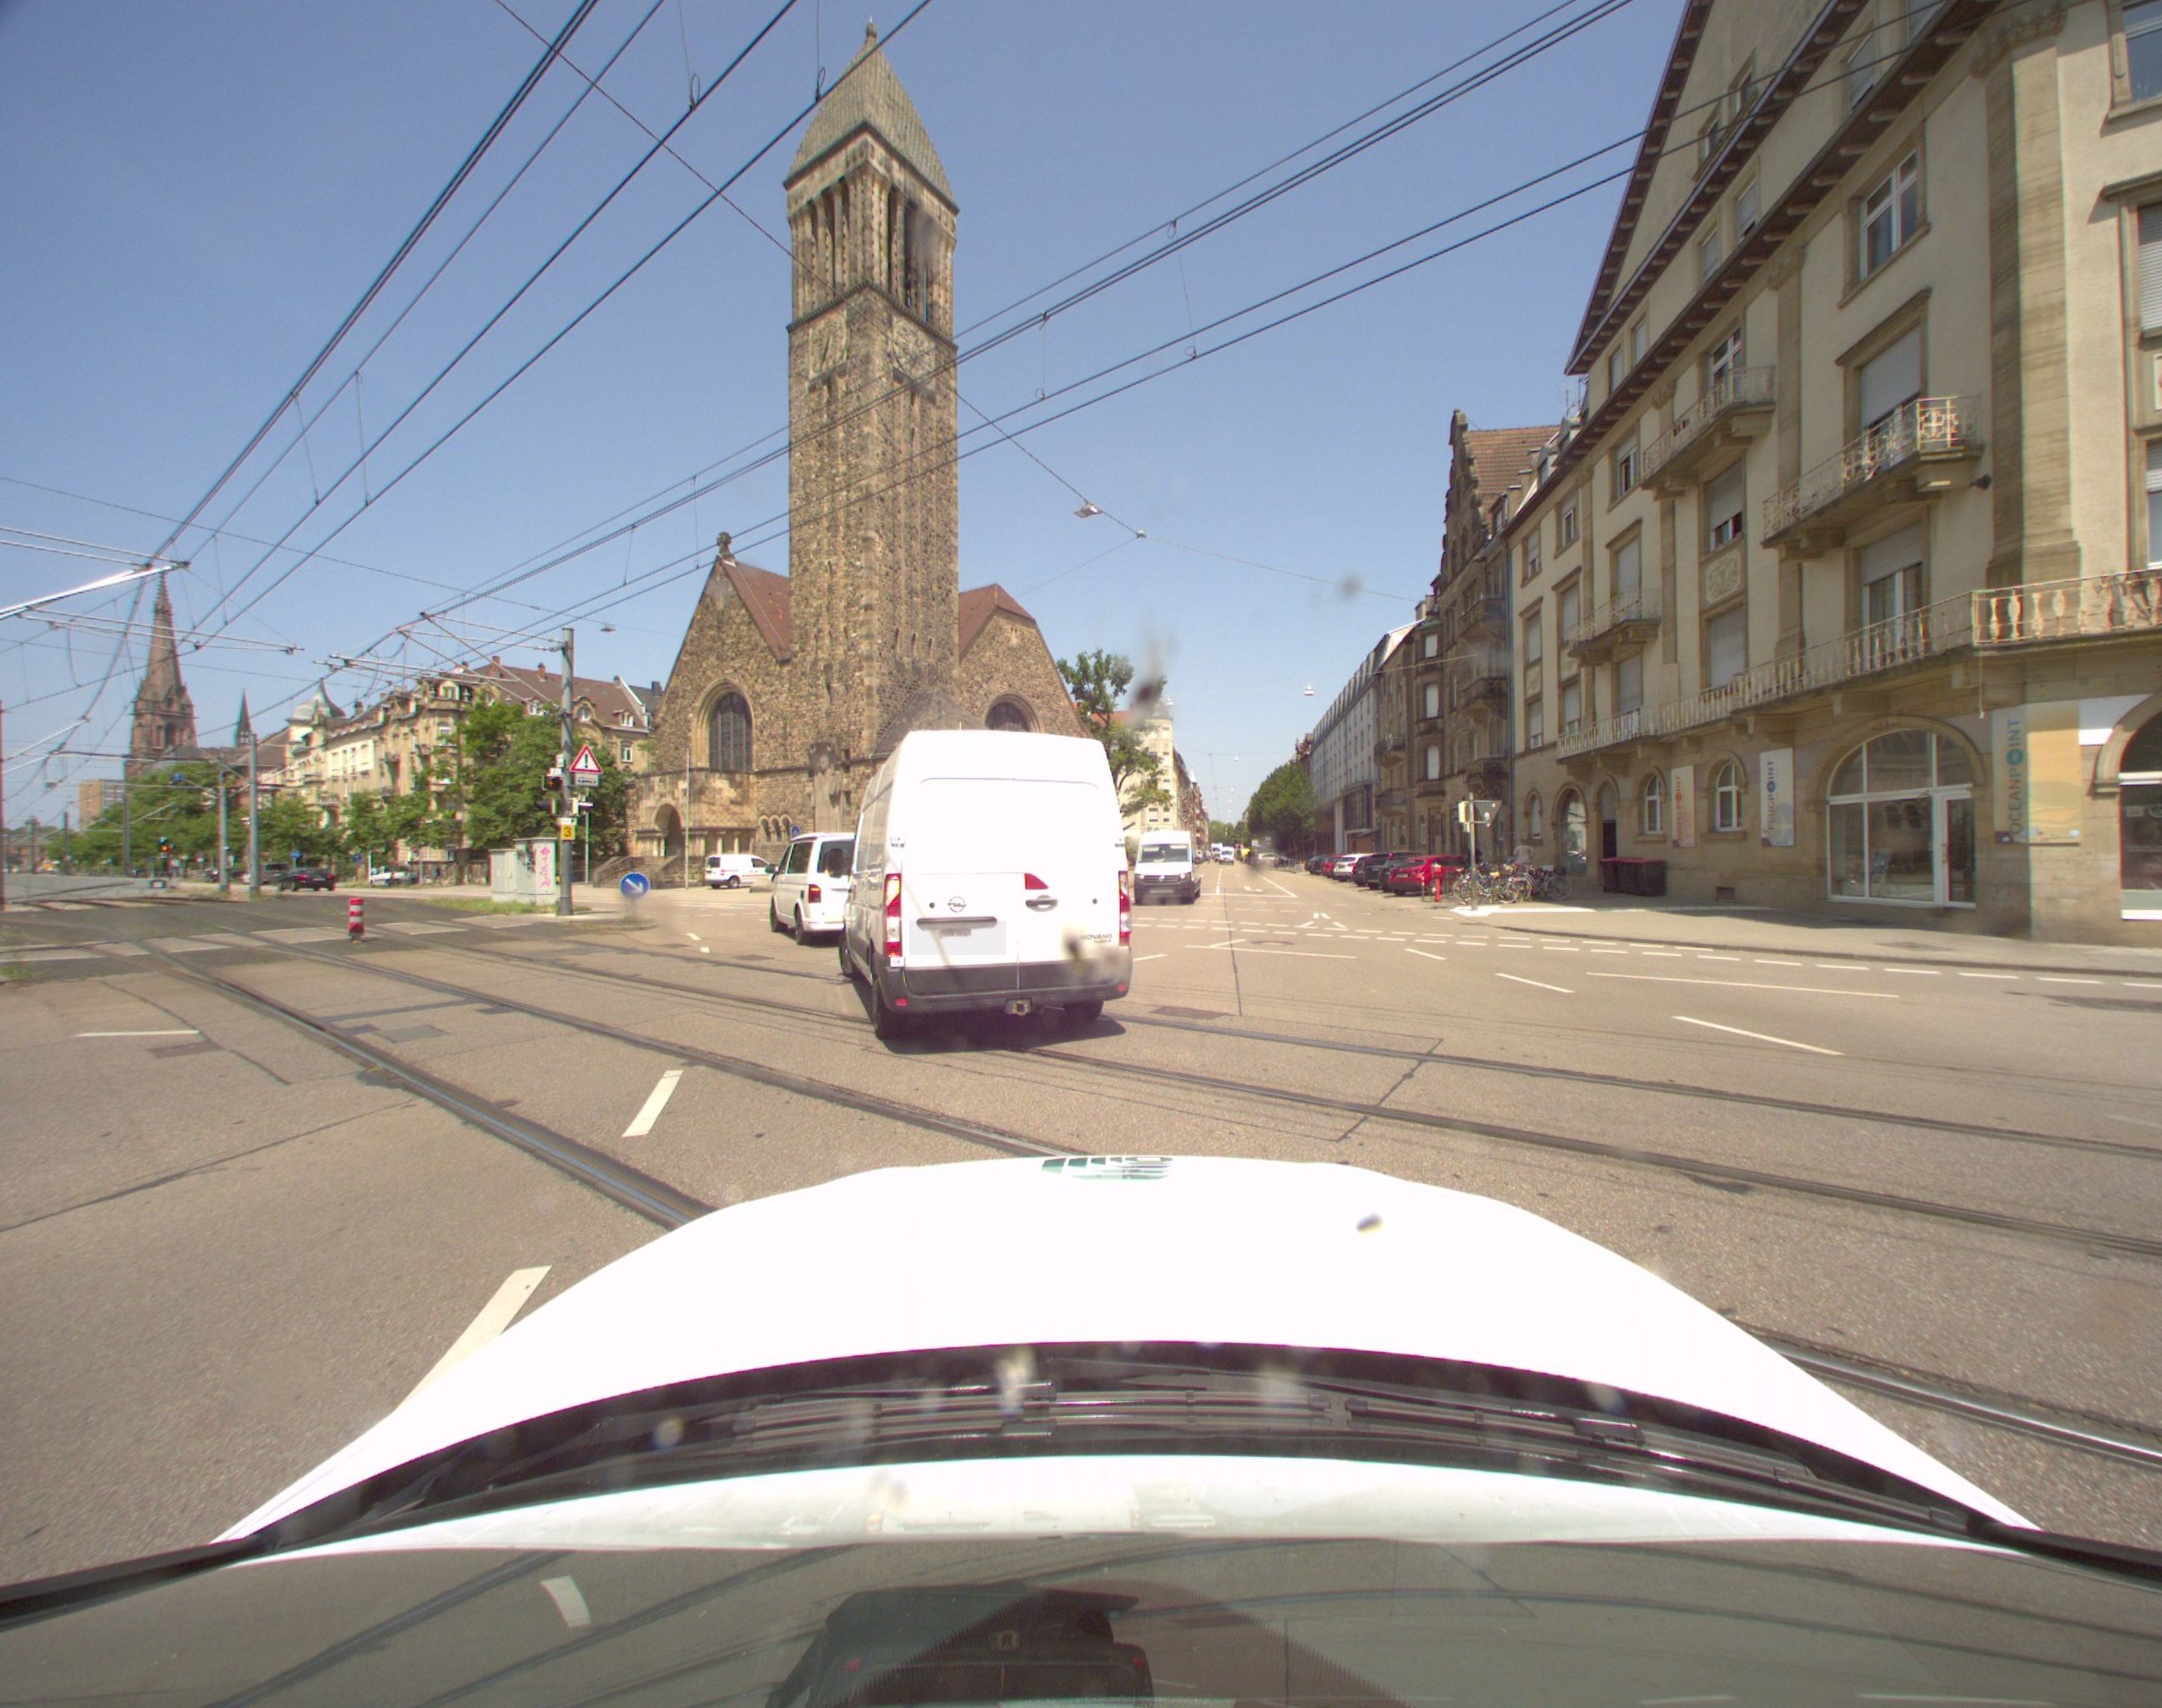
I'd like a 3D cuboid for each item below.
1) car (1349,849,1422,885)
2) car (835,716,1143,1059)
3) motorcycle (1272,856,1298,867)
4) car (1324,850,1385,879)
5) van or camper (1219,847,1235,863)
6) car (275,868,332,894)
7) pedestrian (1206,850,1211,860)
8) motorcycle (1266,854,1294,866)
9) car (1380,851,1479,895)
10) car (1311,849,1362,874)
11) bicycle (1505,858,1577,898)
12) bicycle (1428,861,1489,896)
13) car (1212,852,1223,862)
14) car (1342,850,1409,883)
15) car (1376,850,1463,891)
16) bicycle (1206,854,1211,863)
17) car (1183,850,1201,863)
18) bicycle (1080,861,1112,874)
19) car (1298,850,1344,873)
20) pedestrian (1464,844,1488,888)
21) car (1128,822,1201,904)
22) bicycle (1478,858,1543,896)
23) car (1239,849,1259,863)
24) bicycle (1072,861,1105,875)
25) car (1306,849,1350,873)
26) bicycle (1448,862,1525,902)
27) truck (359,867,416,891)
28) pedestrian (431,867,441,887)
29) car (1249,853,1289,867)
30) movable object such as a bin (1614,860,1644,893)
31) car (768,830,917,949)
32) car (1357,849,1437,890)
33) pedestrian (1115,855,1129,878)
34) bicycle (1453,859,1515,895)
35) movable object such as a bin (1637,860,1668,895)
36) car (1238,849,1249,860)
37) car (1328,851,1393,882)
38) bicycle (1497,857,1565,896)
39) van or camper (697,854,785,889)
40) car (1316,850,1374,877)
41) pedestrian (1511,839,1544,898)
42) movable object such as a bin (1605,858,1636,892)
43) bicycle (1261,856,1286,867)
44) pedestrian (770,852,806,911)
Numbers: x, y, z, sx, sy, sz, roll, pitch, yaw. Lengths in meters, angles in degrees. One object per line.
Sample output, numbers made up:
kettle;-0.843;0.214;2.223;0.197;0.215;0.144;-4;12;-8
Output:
car;14.982;0.653;40.026;3.236;1.575;1.601;-2;-2;-30
car;-1.348;0.262;8.574;2.124;2.459;5.020;0;-1;-20
motorcycle;20.840;0.777;83.381;2.573;1.174;0.685;-1;-1;12
car;16.486;0.638;49.155;3.232;1.575;1.603;-2;-2;-26
van or camper;21.029;0.114;117.177;2.025;2.141;4.589;-1;0;7
car;-47.637;1.644;49.903;3.710;1.539;1.767;-1;-1;34
pedestrian;19.056;0.145;121.922;0.726;1.420;0.800;-1;0;7
motorcycle;20.123;0.643;82.498;2.691;1.174;0.778;-1;-1;12
car;13.124;0.701;30.685;3.231;1.479;1.603;-2;-2;-25
car;17.489;0.516;55.767;3.240;1.575;1.599;-2;-2;-34
bicycle;13.750;0.725;24.374;1.783;1.151;0.568;-2;-1;23
bicycle;13.100;0.842;28.293;1.791;1.151;0.566;-2;-1;4
car;27.966;0.588;166.837;1.980;2.014;4.013;-1;-1;12
car;15.734;0.662;43.473;3.236;1.575;1.601;-2;-2;-30
car;13.956;0.675;33.572;3.236;1.479;1.601;-2;-2;-30
bicycle;19.062;0.716;121.985;0.669;1.359;2.074;-1;0;8
car;14.593;0.308;107.253;1.945;1.750;4.004;-1;0;3
bicycle;1.169;1.049;62.262;2.466;1.011;0.711;-1;-1;36
car;17.988;0.572;61.126;3.241;1.575;1.599;-2;-2;-36
pedestrian;18.196;0.546;37.513;0.857;2.014;1.106;-1;-1;20
car;3.194;0.315;29.803;2.057;2.637;6.653;-1;-1;10
bicycle;13.820;0.745;26.252;1.783;1.151;0.568;-2;-1;23
car;22.080;0.223;107.046;1.945;1.750;4.004;-1;0;3
bicycle;0.549;1.049;61.287;2.466;1.011;0.711;-1;0;36
car;17.768;0.513;58.510;3.244;1.575;1.478;-2;-2;-41
bicycle;12.125;0.845;24.416;2.035;1.151;0.568;-1;0;24
truck;-48.287;1.709;56.710;4.407;1.526;1.807;-1;0;33
pedestrian;-44.984;1.588;56.818;0.403;1.351;0.398;-1;0;32
car;20.939;0.638;90.571;3.992;1.549;1.741;0;-1;-14
movable object such as a bin;16.573;0.683;24.639;0.576;0.995;0.593;-1;-1;18
car;-4.708;0.603;15.649;1.928;1.944;4.225;0;-1;-28
car;14.180;0.680;36.515;3.236;1.665;1.601;-2;-2;-30
pedestrian;2.839;0.865;56.347;0.711;1.559;0.796;-1;-1;28
bicycle;13.469;0.759;27.278;1.783;1.151;0.568;-2;-1;23
movable object such as a bin;16.519;0.679;23.551;0.576;0.995;0.593;-1;-1;18
car;29.577;0.108;148.326;1.893;2.014;4.013;-2;-1;12
car;15.902;0.719;46.304;3.234;1.575;1.602;-2;-2;-27
bicycle;13.940;0.691;25.276;1.783;1.151;0.568;-2;-1;23
van or camper;-18.570;0.937;44.589;1.974;1.807;4.025;-1;-1;32
car;16.792;0.597;51.873;3.232;1.575;1.603;-2;-2;-26
pedestrian;16.541;0.539;30.187;0.857;2.114;1.106;-1;-1;20
movable object such as a bin;16.799;0.653;25.380;0.663;1.064;0.593;-1;-1;18
bicycle;20.404;0.809;86.283;2.593;1.174;0.679;0;-1;-13
pedestrian;-9.139;0.845;25.428;0.823;1.822;0.749;-1;-1;42
